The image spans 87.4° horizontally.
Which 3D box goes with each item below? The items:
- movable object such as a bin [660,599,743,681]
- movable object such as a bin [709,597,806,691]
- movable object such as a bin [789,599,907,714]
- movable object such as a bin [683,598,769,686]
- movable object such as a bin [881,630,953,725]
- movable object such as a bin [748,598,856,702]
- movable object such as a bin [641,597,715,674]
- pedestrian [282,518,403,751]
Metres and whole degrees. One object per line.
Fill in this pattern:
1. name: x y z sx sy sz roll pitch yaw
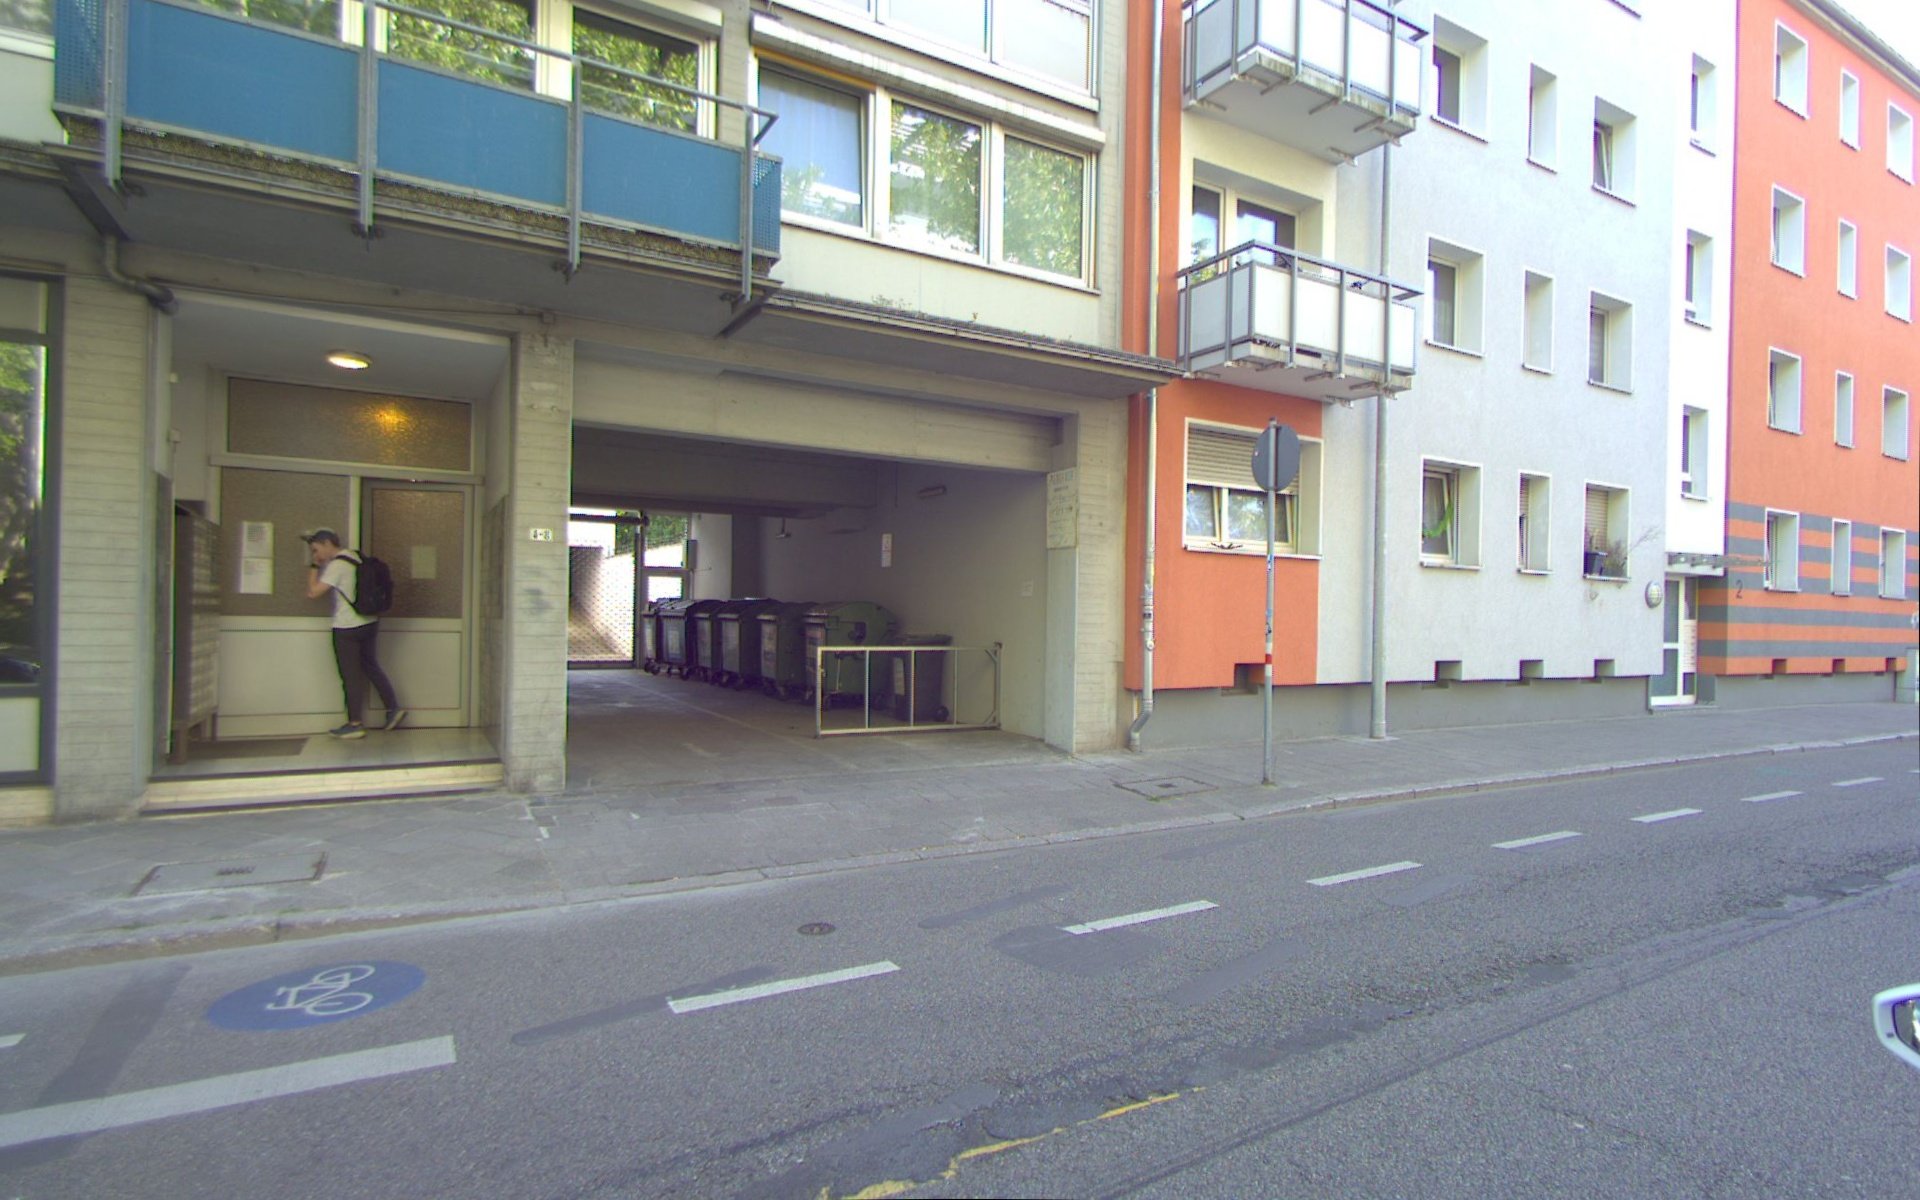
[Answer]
1. movable object such as a bin: -4.837 0.730 18.753 1.186 1.467 1.222 2 0 -30
2. movable object such as a bin: -3.367 0.707 16.620 1.186 1.467 1.319 2 0 -30
3. movable object such as a bin: -1.560 0.748 13.803 1.159 1.467 1.319 2 0 -30
4. movable object such as a bin: -4.138 0.728 17.711 1.186 1.467 1.114 2 0 -30
5. movable object such as a bin: -0.532 0.947 12.411 0.745 1.116 0.463 2 0 -30
6. movable object such as a bin: -2.400 0.729 15.136 1.186 1.467 1.319 2 0 -30
7. movable object such as a bin: -5.613 0.695 19.983 1.186 1.467 1.027 2 0 -30
8. pedestrian: -5.277 0.289 8.628 0.776 1.904 0.578 2 0 -25
